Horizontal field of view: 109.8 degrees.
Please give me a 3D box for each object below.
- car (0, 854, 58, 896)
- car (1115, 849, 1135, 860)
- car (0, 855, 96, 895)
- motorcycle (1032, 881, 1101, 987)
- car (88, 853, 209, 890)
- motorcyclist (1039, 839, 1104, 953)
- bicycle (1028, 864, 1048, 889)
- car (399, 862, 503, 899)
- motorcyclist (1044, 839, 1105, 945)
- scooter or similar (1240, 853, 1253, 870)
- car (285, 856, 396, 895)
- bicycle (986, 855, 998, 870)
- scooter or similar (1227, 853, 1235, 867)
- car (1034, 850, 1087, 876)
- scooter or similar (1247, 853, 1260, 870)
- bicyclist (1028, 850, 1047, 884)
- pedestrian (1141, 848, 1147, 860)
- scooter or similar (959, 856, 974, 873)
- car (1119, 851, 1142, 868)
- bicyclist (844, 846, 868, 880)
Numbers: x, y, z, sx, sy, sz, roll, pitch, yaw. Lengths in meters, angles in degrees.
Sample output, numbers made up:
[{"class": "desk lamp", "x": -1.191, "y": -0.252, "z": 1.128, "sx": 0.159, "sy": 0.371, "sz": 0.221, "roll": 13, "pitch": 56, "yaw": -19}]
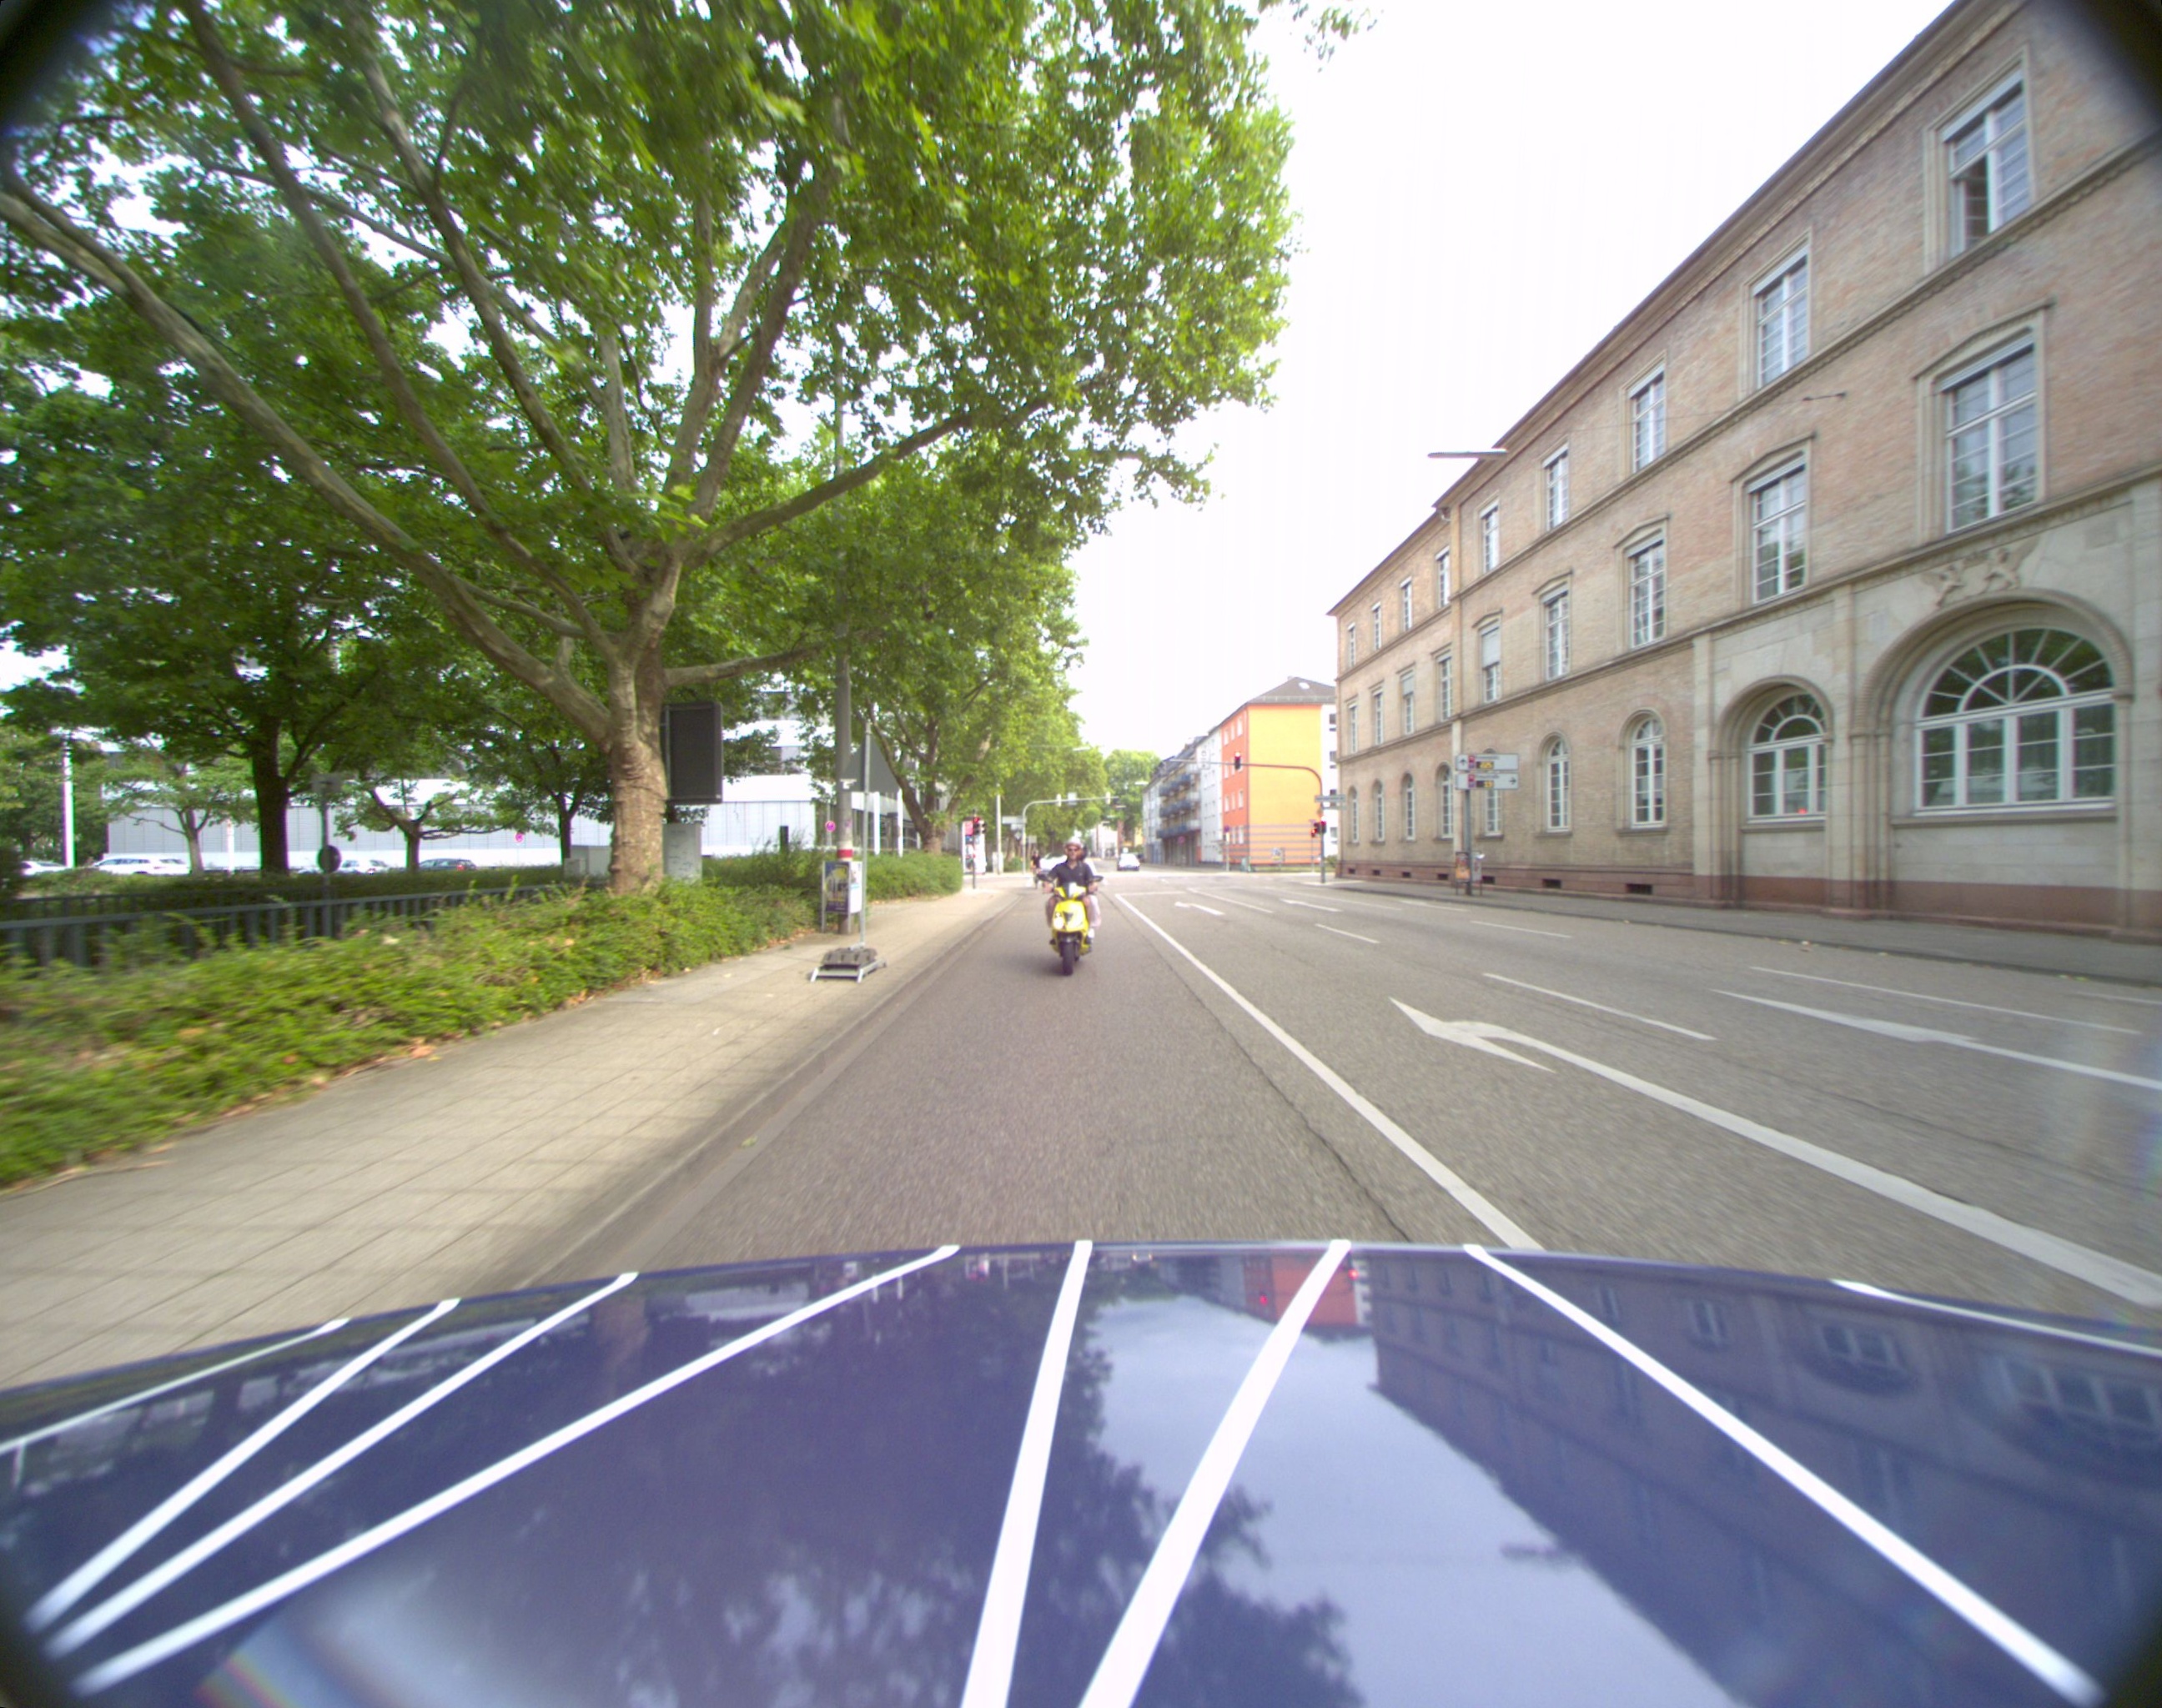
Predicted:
[{"class": "car", "x": -43.648, "y": 0.869, "z": 29.225, "sx": 1.998, "sy": 1.621, "sz": 4.773, "roll": -2, "pitch": 0, "yaw": 1}, {"class": "car", "x": 9.393, "y": 0.099, "z": 162.844, "sx": 3.997, "sy": 2.002, "sz": 2.000, "roll": -2, "pitch": 0, "yaw": -1}, {"class": "car", "x": -57.362, "y": 1.151, "z": 41.485, "sx": 4.000, "sy": 2.002, "sz": 1.998, "roll": -2, "pitch": 0, "yaw": -10}, {"class": "motorcycle", "x": -0.142, "y": 0.999, "z": 10.115, "sx": 0.781, "sy": 1.171, "sz": 1.993, "roll": -2, "pitch": 0, "yaw": 2}, {"class": "car", "x": -52.052, "y": 0.941, "z": 42.479, "sx": 3.879, "sy": 1.850, "sz": 1.952, "roll": -2, "pitch": 0, "yaw": -10}, {"class": "motorcyclist", "x": -0.106, "y": 0.533, "z": 10.014, "sx": 0.781, "sy": 1.419, "sz": 0.764, "roll": -2, "pitch": 1, "yaw": 2}, {"class": "bicycle", "x": -1.919, "y": 0.960, "z": 33.602, "sx": 0.771, "sy": 1.009, "sz": 2.406, "roll": -3, "pitch": 0, "yaw": -5}, {"class": "car", "x": -35.758, "y": 1.477, "z": 43.222, "sx": 4.000, "sy": 1.849, "sz": 1.998, "roll": -2, "pitch": 0, "yaw": -10}, {"class": "motorcyclist", "x": -0.082, "y": 0.516, "z": 10.702, "sx": 0.781, "sy": 1.419, "sz": 0.689, "roll": -2, "pitch": 1, "yaw": 2}, {"class": "scooter or similar", "x": 11.748, "y": 0.562, "z": 53.986, "sx": 0.330, "sy": 1.172, "sz": 1.341, "roll": -3, "pitch": 0, "yaw": -14}, {"class": "car", "x": -41.797, "y": 1.184, "z": 42.980, "sx": 4.000, "sy": 2.002, "sz": 1.998, "roll": -2, "pitch": 0, "yaw": -10}, {"class": "bicycle", "x": -7.224, "y": 0.712, "z": 61.915, "sx": 0.700, "sy": 1.162, "sz": 1.725, "roll": -2, "pitch": 0, "yaw": 0}, {"class": "scooter or similar", "x": 11.861, "y": 0.462, "z": 60.164, "sx": 0.369, "sy": 1.117, "sz": 1.354, "roll": -2, "pitch": 0, "yaw": 0}, {"class": "car", "x": -1.319, "y": 0.589, "z": 51.674, "sx": 1.996, "sy": 1.543, "sz": 4.527, "roll": -2, "pitch": 0, "yaw": 21}, {"class": "scooter or similar", "x": 12.299, "y": 0.534, "z": 54.176, "sx": 0.330, "sy": 1.151, "sz": 1.352, "roll": -3, "pitch": 0, "yaw": -14}, {"class": "bicyclist", "x": -1.933, "y": 0.569, "z": 33.652, "sx": 0.785, "sy": 1.438, "sz": 0.913, "roll": -2, "pitch": 0, "yaw": -5}, {"class": "pedestrian", "x": 10.691, "y": 0.034, "z": 128.635, "sx": 0.842, "sy": 2.002, "sz": 0.875, "roll": -2, "pitch": 0, "yaw": 4}, {"class": "scooter or similar", "x": -7.899, "y": 0.705, "z": 52.592, "sx": 0.473, "sy": 1.131, "sz": 1.307, "roll": 1, "pitch": 1, "yaw": -35}, {"class": "car", "x": 4.250, "y": 0.486, "z": 65.726, "sx": 1.673, "sy": 1.430, "sz": 3.819, "roll": -1, "pitch": 0, "yaw": -1}, {"class": "bicyclist", "x": -11.244, "y": 0.444, "z": 37.938, "sx": 0.831, "sy": 1.669, "sz": 0.915, "roll": -1, "pitch": 2, "yaw": 4}]
